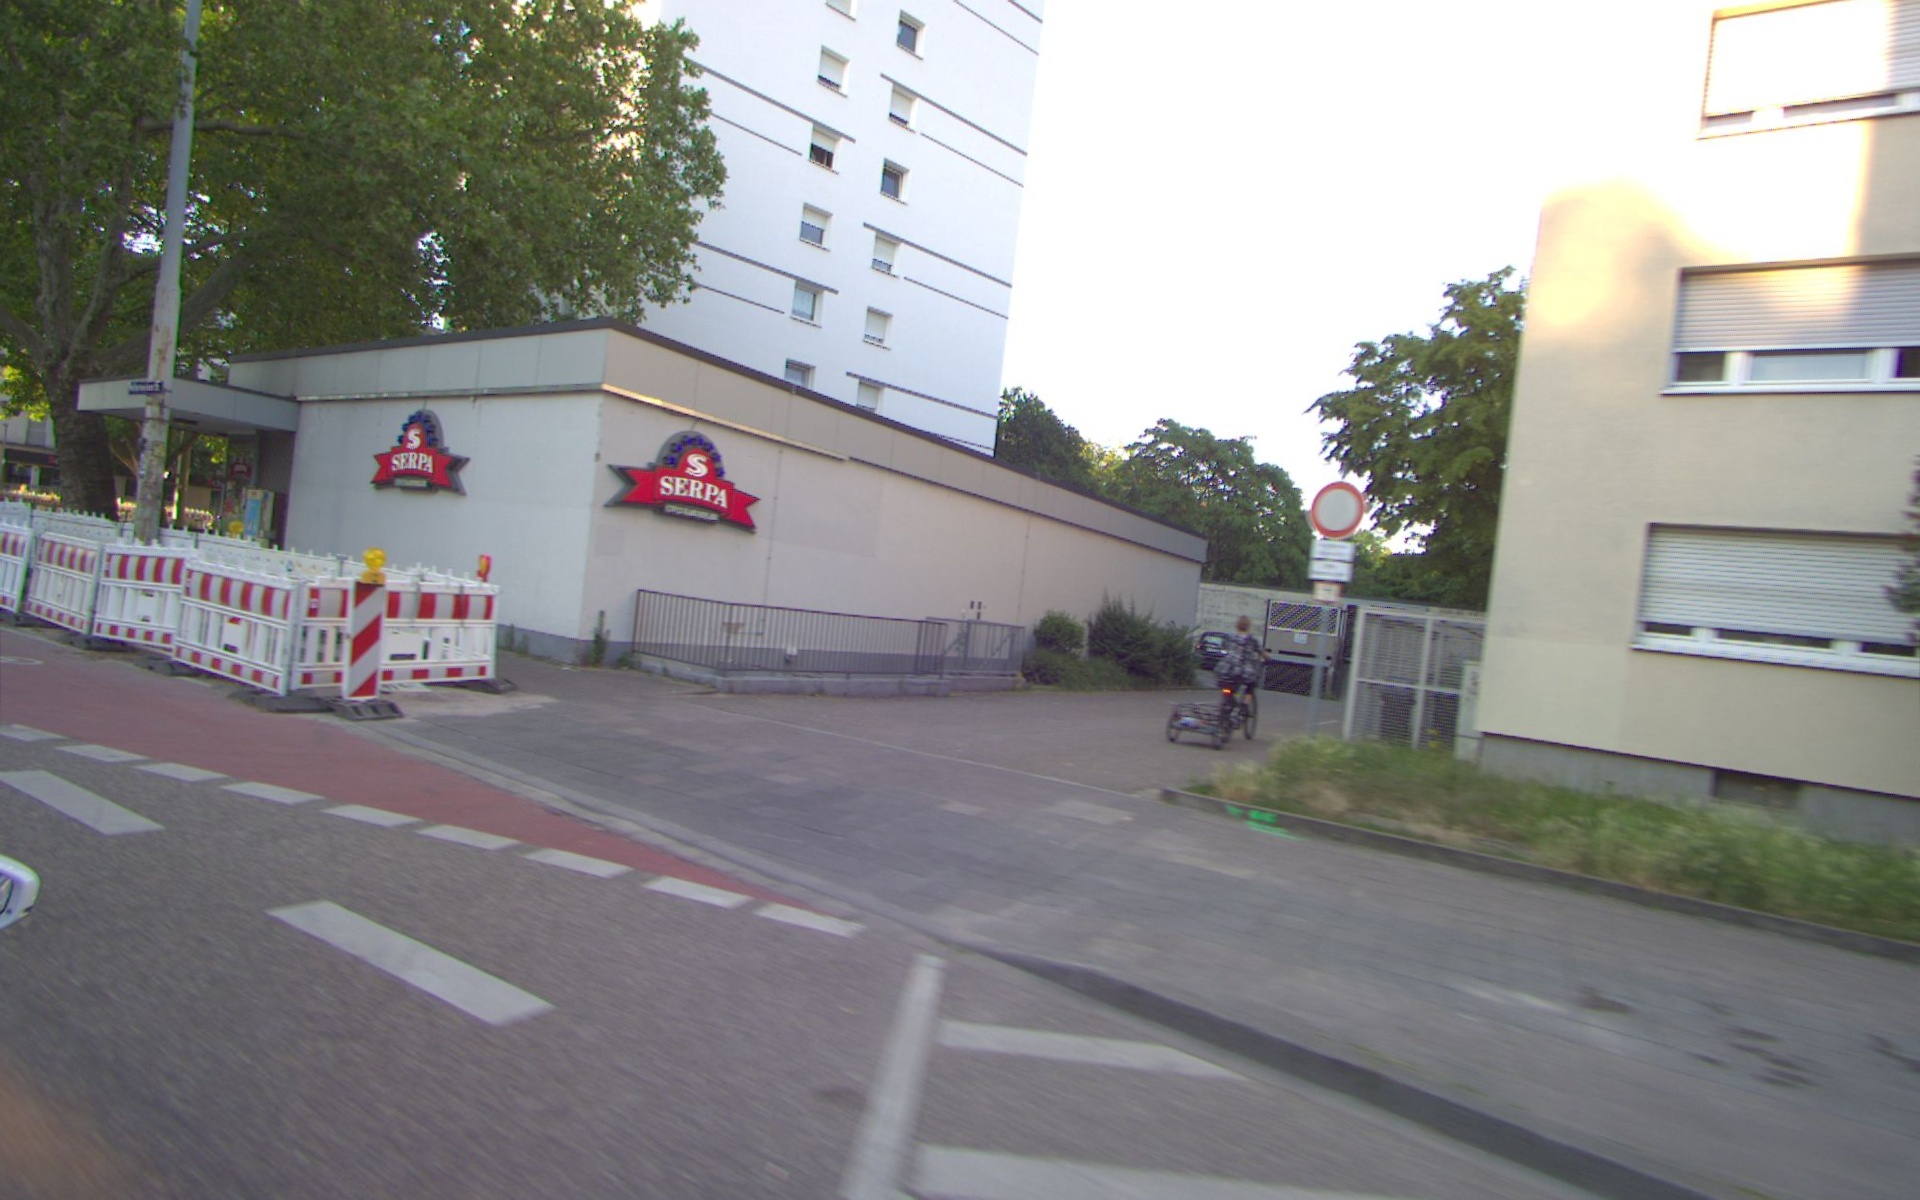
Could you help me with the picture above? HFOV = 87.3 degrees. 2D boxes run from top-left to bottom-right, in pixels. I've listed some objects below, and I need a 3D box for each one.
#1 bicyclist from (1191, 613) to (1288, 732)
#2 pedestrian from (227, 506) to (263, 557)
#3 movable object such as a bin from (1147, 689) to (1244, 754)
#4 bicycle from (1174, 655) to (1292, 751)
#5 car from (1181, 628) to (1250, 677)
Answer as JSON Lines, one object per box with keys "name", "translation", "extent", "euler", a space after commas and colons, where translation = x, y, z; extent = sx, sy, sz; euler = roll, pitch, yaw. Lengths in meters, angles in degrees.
{"name": "bicyclist", "translation": [4.158, 1.063, 14.924], "extent": [0.927, 1.602, 1.143], "euler": [7, 1, 33]}
{"name": "pedestrian", "translation": [-27.016, -2.588, 38.011], "extent": [0.704, 1.780, 0.663], "euler": [7, 1, 13]}
{"name": "movable object such as a bin", "translation": [3.165, 1.607, 13.469], "extent": [0.927, 0.697, 0.991], "euler": [7, 0, 33]}
{"name": "bicycle", "translation": [4.080, 1.491, 14.880], "extent": [0.927, 1.186, 2.353], "euler": [7, 0, 33]}
{"name": "car", "translation": [10.651, 2.204, 41.774], "extent": [1.964, 1.690, 3.827], "euler": [7, 0, 24]}
